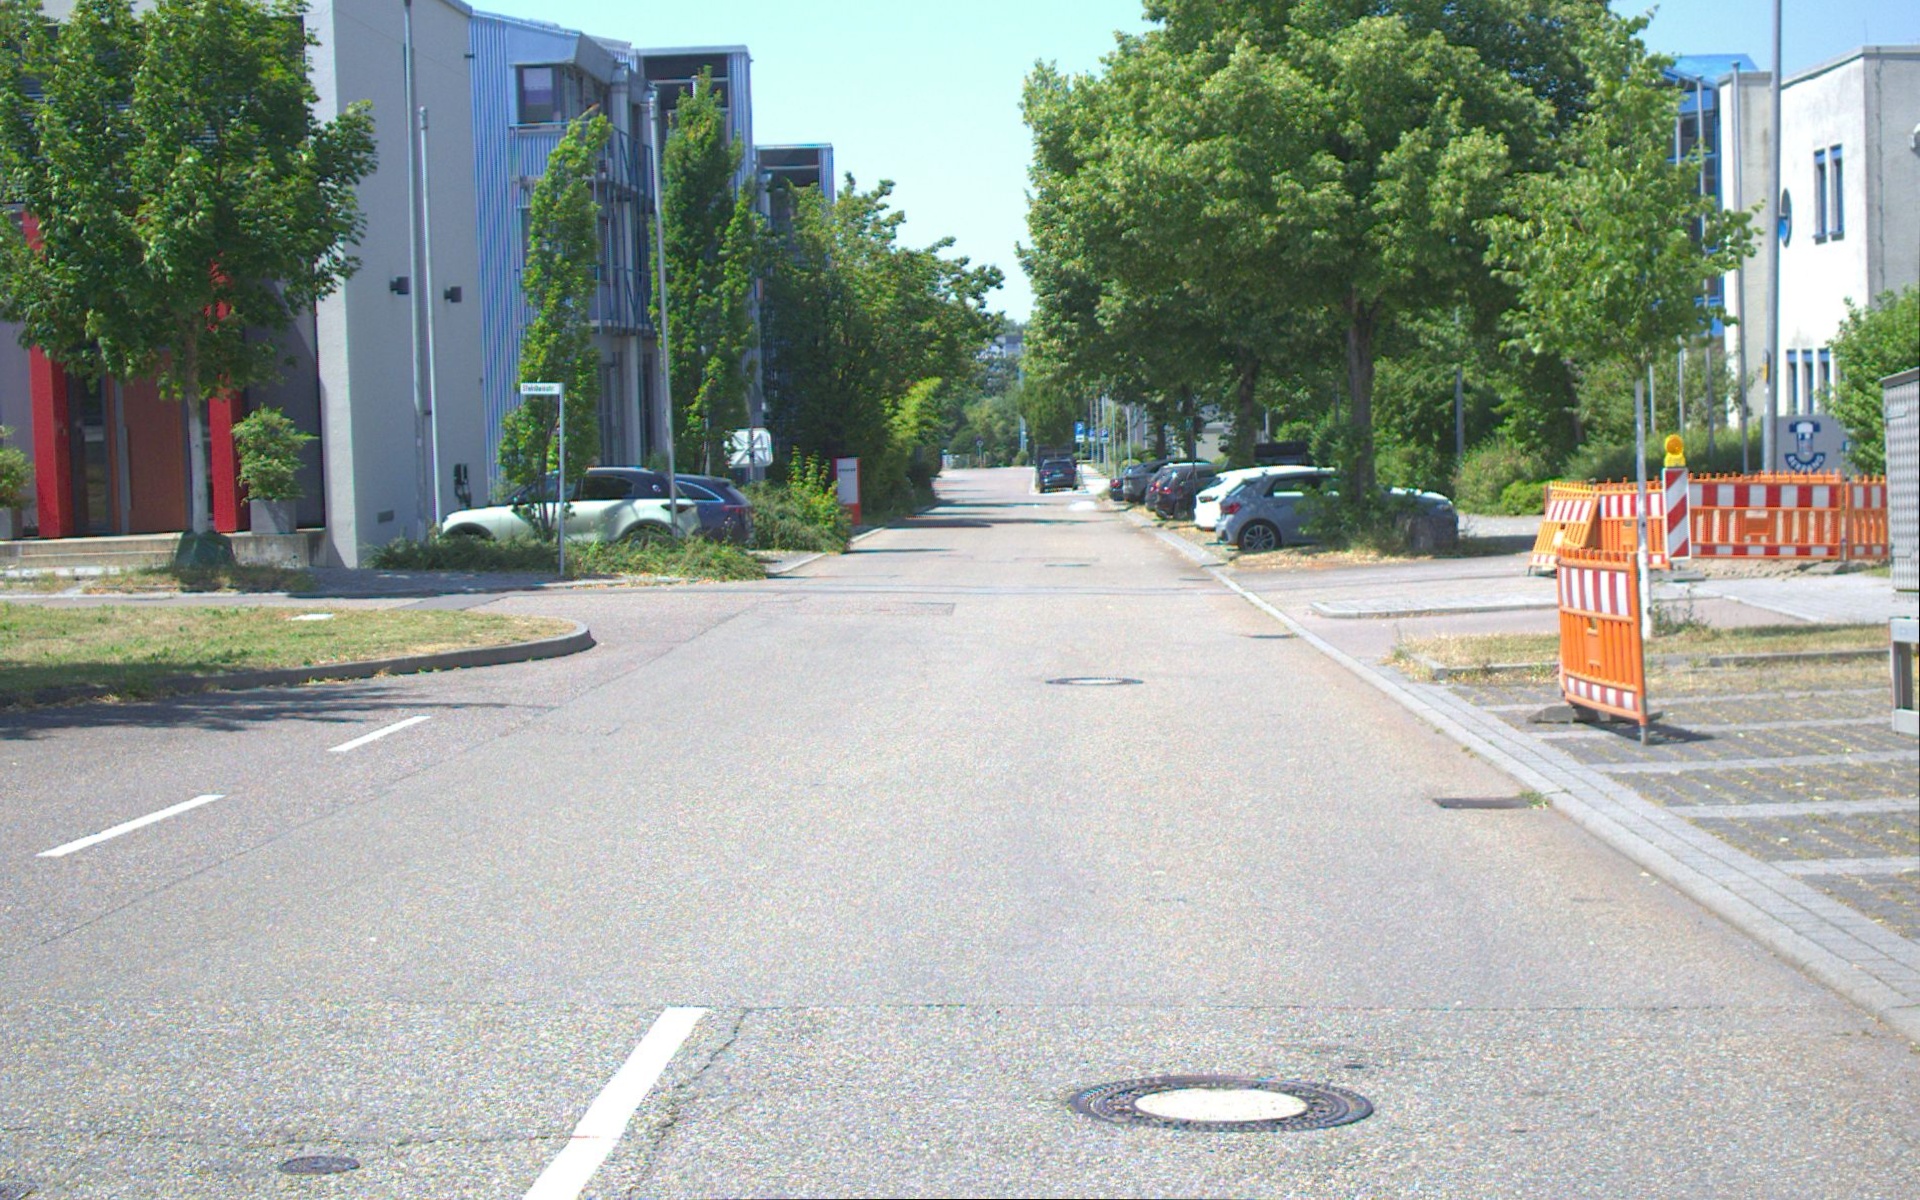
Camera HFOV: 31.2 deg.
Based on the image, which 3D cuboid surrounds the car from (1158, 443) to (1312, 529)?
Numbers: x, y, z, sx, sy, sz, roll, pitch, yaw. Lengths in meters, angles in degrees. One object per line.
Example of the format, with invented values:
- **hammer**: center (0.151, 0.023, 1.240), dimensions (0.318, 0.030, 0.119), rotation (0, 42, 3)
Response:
- **car**: center (6.847, -2.855, 85.853), dimensions (3.722, 2.103, 1.814), rotation (0, 2, 2)

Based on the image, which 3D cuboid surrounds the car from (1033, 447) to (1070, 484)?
- **car**: center (4.495, -6.578, 168.456), dimensions (1.761, 1.749, 3.945), rotation (0, 2, 2)

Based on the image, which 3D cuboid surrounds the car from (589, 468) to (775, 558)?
- **car**: center (-4.647, -1.458, 57.461), dimensions (3.057, 1.473, 1.293), rotation (0, 2, -5)

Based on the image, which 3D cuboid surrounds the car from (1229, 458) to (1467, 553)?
- **car**: center (6.480, -1.592, 57.607), dimensions (3.678, 1.349, 1.646), rotation (-3, 2, -2)

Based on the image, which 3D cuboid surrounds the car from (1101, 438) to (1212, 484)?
- **car**: center (7.361, -5.230, 129.090), dimensions (3.931, 1.572, 1.768), rotation (-1, 6, -6)

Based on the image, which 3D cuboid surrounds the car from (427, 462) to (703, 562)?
- **car**: center (-6.032, -1.359, 52.774), dimensions (4.046, 1.489, 1.729), rotation (0, 2, -1)

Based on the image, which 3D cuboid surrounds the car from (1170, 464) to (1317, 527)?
- **car**: center (7.368, -2.731, 89.618), dimensions (3.722, 1.621, 1.814), rotation (0, 2, 2)

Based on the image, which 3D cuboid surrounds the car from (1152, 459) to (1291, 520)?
- **car**: center (7.206, -3.056, 94.948), dimensions (3.722, 1.621, 1.814), rotation (0, 2, 2)

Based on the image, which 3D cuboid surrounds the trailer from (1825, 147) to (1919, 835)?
- **trailer**: center (5.354, -0.440, 12.653), dimensions (2.656, 2.847, 5.521), rotation (-3, 2, -2)

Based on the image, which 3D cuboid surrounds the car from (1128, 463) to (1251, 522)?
- **car**: center (7.794, -3.668, 117.108), dimensions (3.931, 1.828, 1.768), rotation (-1, 6, -6)

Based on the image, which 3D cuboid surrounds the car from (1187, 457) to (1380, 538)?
- **car**: center (6.309, -2.012, 67.213), dimensions (3.516, 1.349, 1.538), rotation (-3, 2, -2)
